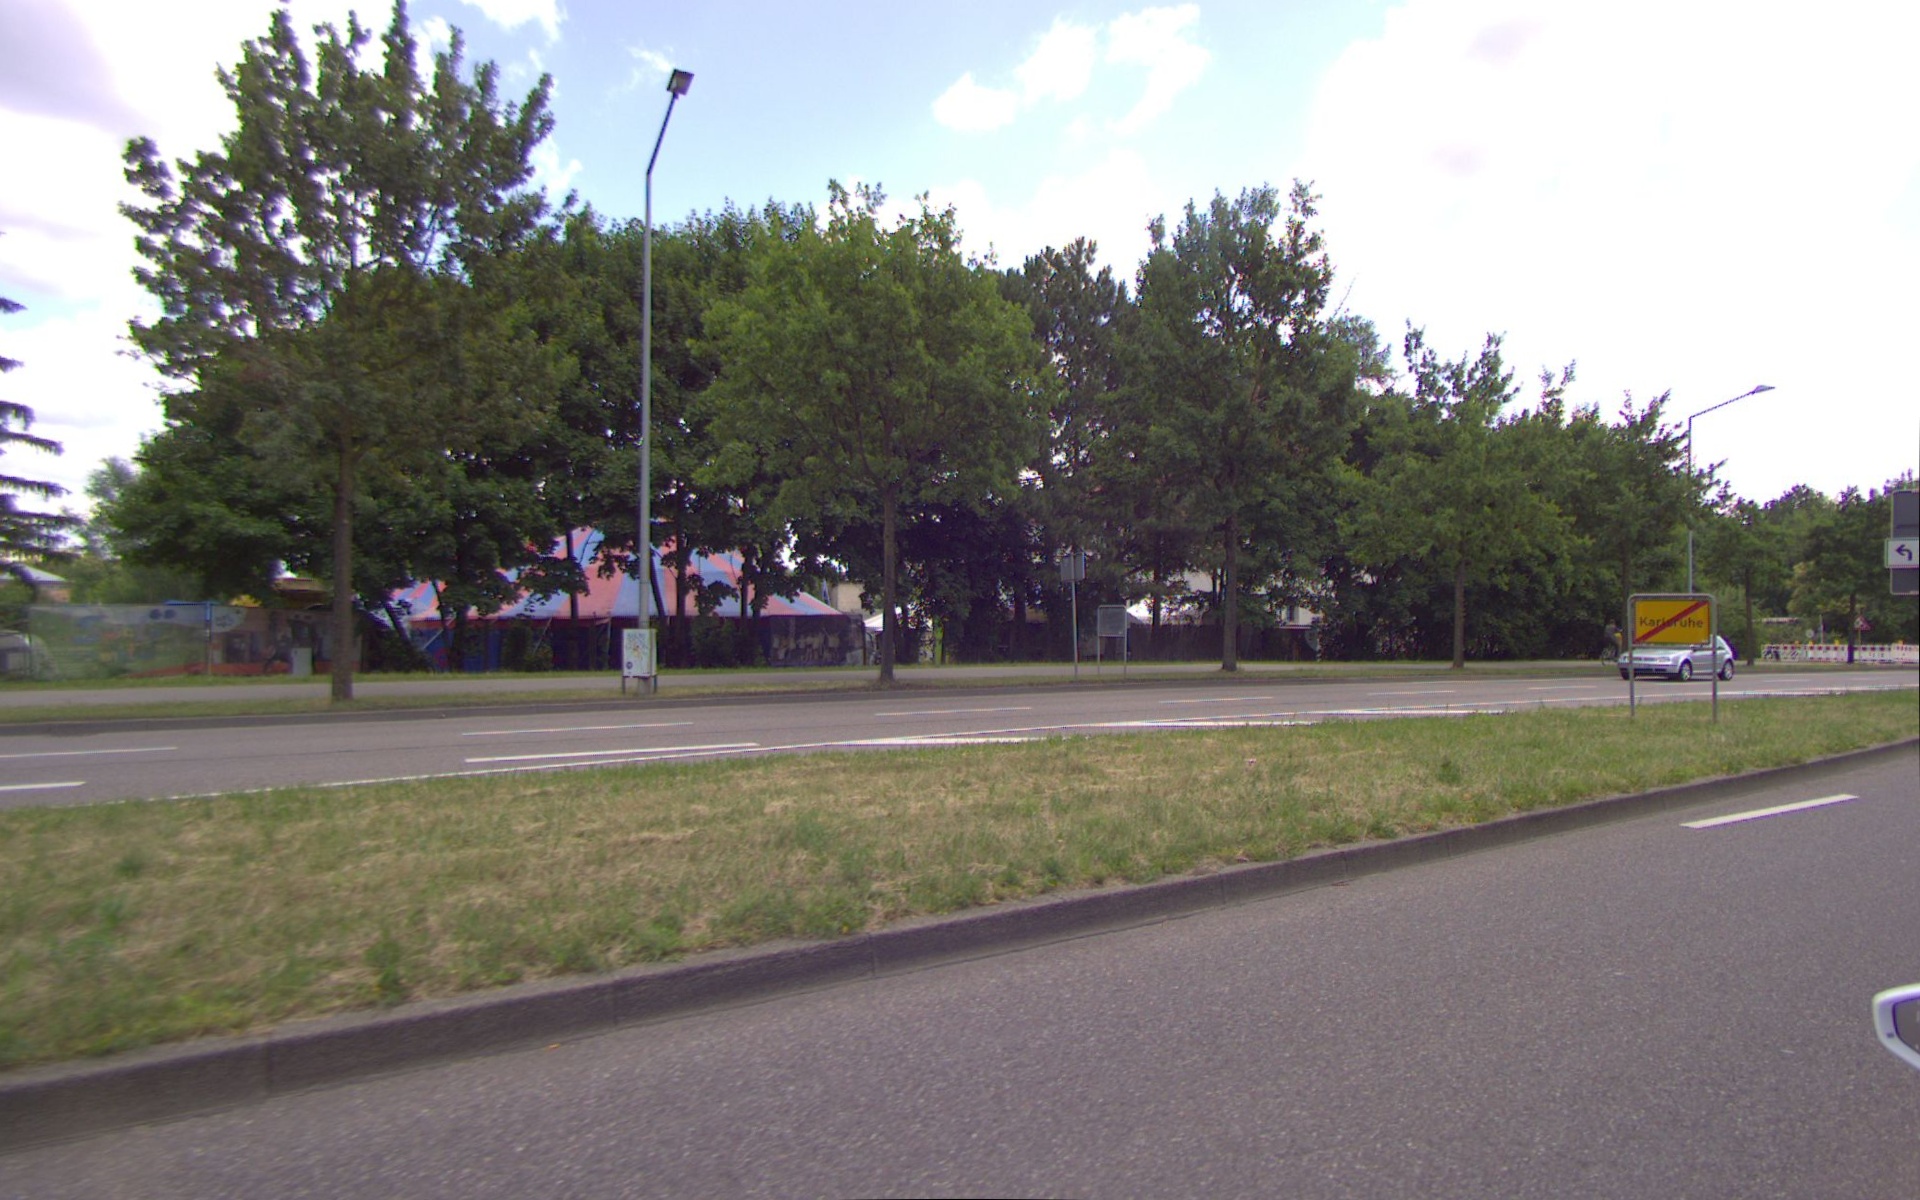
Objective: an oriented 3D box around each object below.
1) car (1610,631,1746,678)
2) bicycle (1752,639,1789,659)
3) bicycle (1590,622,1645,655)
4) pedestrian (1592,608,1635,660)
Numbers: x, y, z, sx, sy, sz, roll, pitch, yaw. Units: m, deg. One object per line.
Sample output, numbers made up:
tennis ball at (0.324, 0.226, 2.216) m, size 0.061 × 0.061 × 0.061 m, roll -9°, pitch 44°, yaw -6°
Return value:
car at (22.006, 1.623, 30.760) m, size 4.325 × 1.346 × 1.634 m, roll 1°, pitch -1°, yaw -27°
bicycle at (44.967, 2.709, 55.756) m, size 0.866 × 1.073 × 2.364 m, roll 1°, pitch -1°, yaw 20°
bicycle at (26.235, 1.526, 40.045) m, size 2.472 × 1.243 × 0.804 m, roll 1°, pitch -1°, yaw -30°
pedestrian at (25.980, 1.355, 39.935) m, size 1.234 × 2.040 × 0.966 m, roll 1°, pitch -1°, yaw -29°
